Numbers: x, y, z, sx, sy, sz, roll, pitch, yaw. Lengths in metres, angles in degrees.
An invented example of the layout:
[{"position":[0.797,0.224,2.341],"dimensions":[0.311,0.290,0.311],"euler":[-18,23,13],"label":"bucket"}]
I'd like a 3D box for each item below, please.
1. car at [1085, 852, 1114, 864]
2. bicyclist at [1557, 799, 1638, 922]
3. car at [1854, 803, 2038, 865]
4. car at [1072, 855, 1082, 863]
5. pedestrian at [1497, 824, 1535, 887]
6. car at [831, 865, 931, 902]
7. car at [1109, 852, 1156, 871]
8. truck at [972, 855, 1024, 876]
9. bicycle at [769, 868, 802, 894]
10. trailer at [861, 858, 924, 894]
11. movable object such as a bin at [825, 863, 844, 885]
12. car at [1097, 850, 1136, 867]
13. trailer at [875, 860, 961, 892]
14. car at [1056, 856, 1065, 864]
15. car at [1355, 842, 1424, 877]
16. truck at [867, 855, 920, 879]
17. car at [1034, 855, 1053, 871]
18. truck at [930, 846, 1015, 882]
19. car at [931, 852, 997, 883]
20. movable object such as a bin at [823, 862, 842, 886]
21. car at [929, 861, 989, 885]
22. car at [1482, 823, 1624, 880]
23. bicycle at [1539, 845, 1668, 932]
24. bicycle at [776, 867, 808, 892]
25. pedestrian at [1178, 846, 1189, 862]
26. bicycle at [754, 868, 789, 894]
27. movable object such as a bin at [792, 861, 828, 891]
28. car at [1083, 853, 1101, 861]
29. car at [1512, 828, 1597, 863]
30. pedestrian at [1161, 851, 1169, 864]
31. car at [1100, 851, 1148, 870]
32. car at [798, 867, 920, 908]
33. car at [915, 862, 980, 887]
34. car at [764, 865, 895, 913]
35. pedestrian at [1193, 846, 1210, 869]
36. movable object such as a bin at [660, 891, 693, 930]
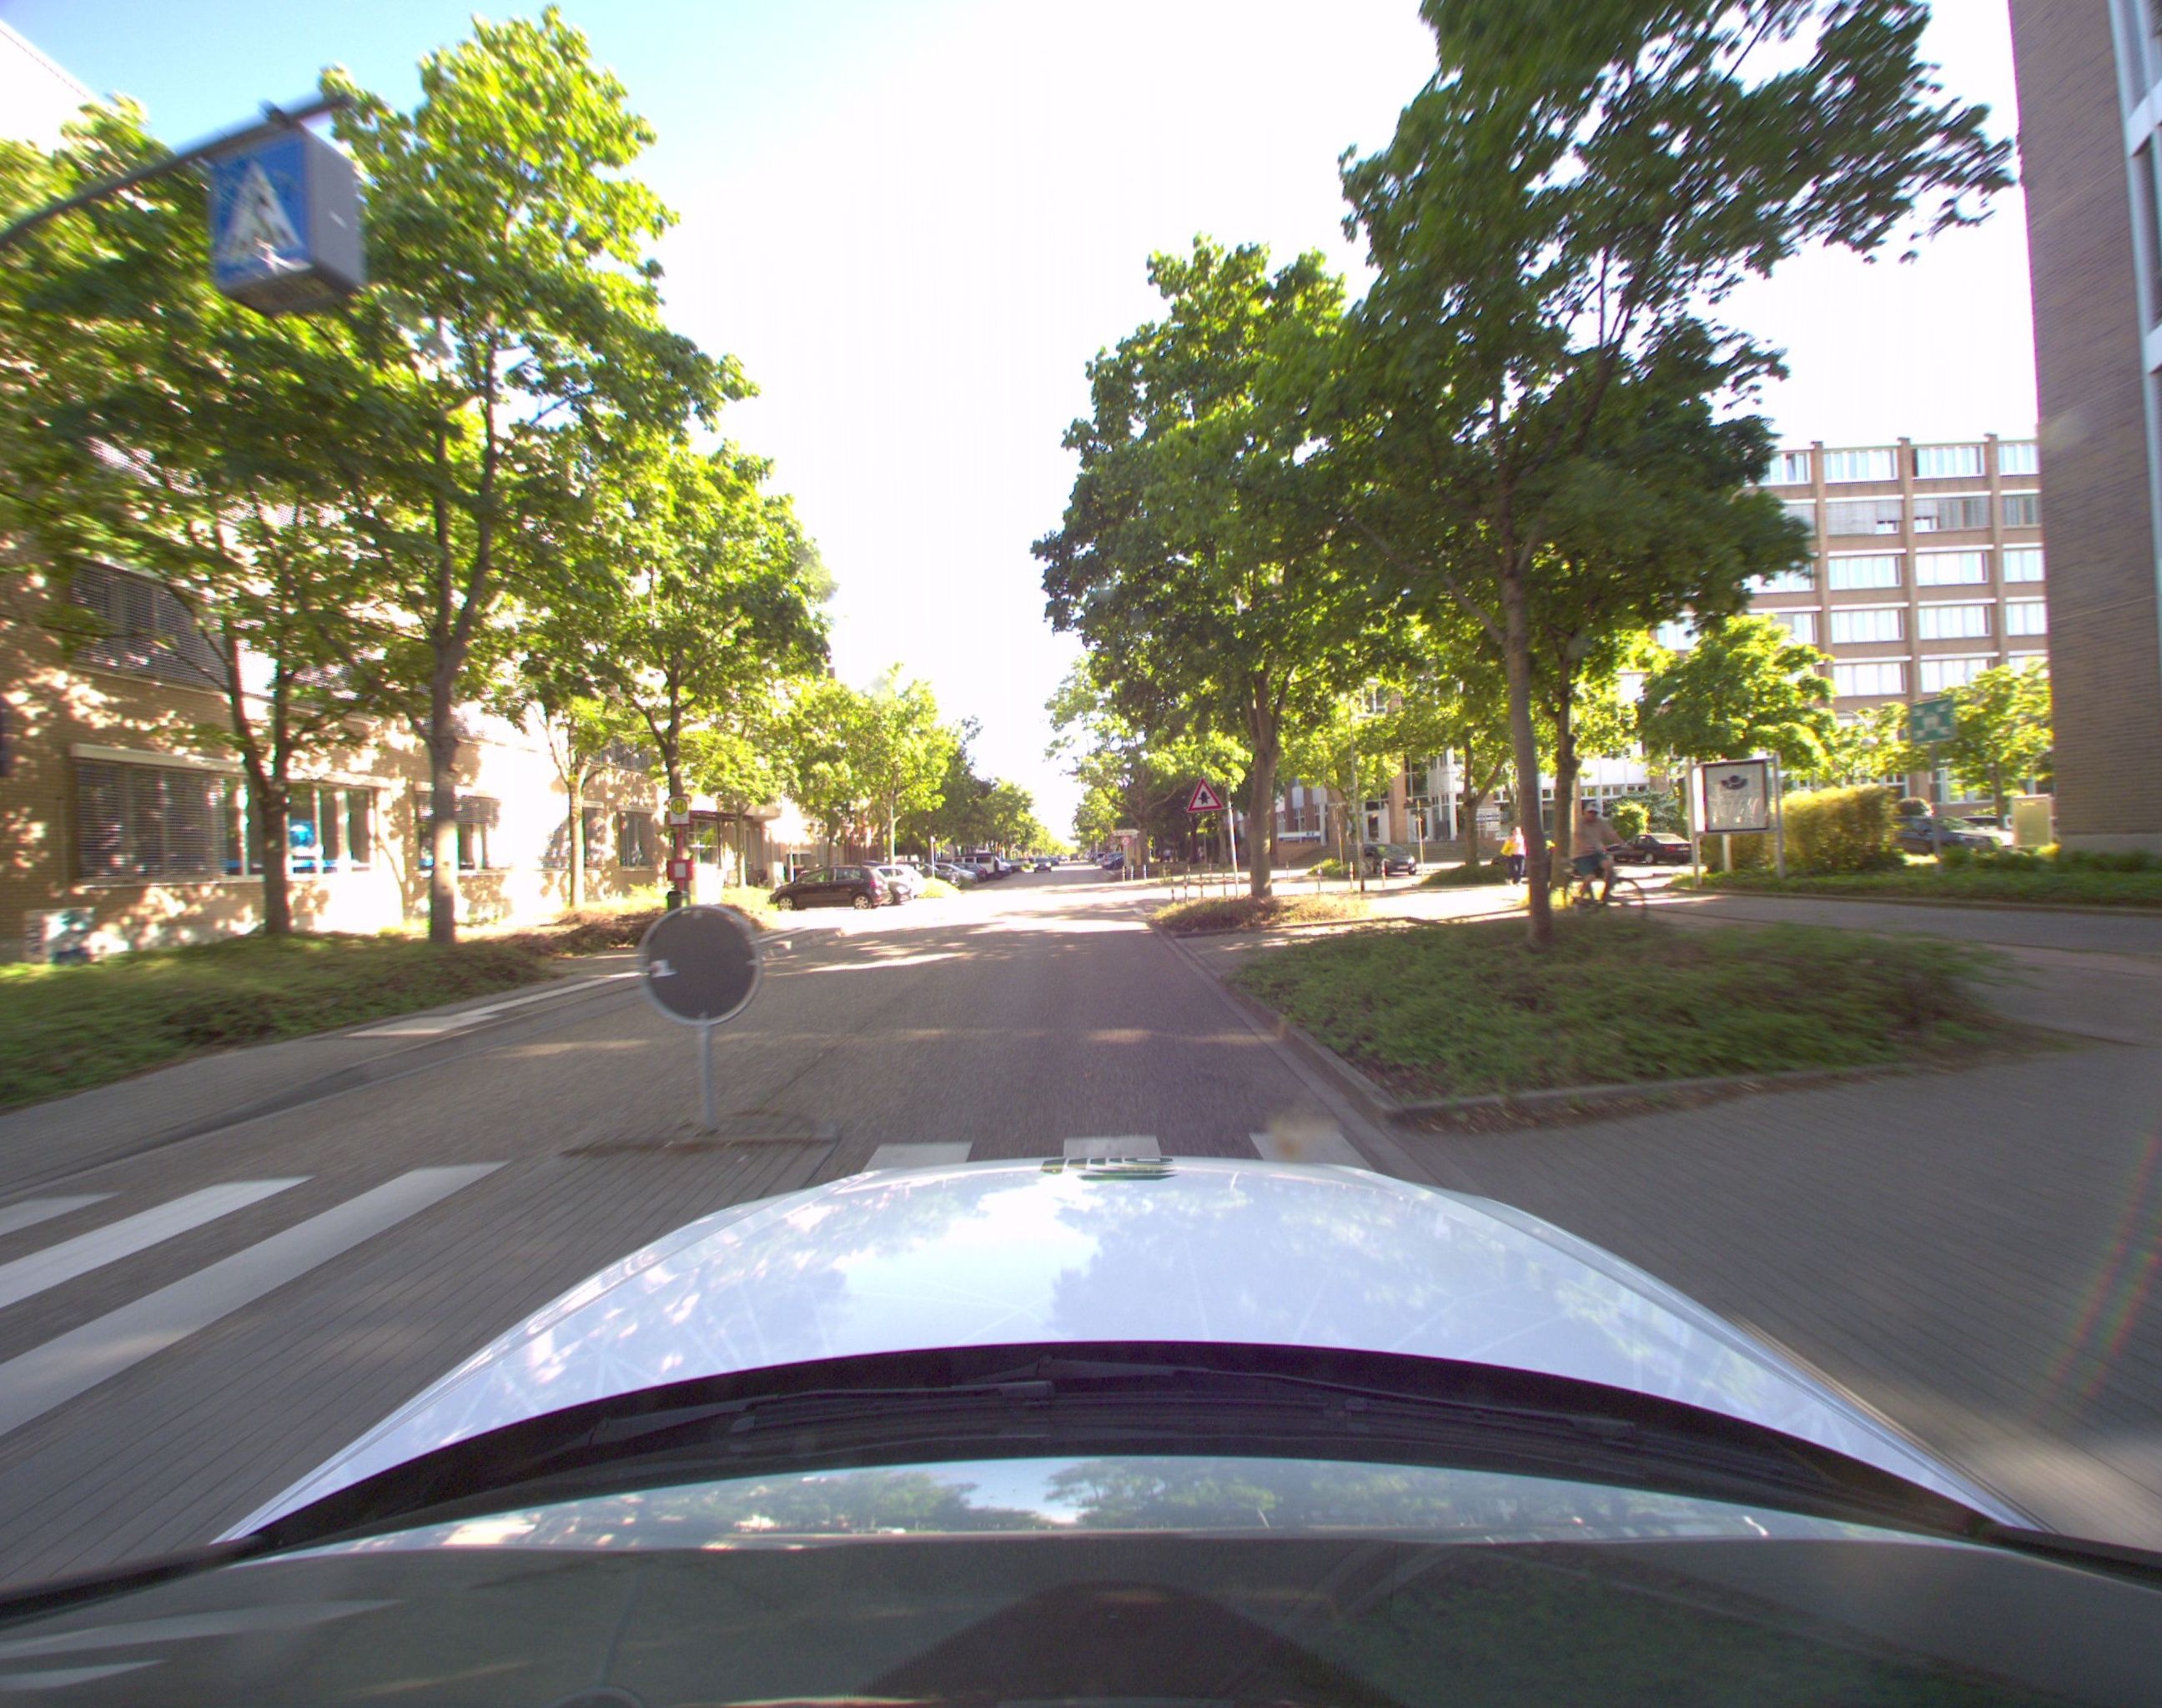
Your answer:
[{"position":[2.831,0.604,126.996],"dimensions":[4.258,1.633,1.856],"euler":[-4,0,-3],"label":"car"},{"position":[7.212,0.089,11.402],"dimensions":[0.535,1.636,0.822],"euler":[-3,0,0],"label":"bicyclist"},{"position":[27.020,-0.568,25.659],"dimensions":[1.690,1.585,4.005],"euler":[-2,-3,6],"label":"car"},{"position":[-0.896,1.126,171.999],"dimensions":[1.927,1.597,4.364],"euler":[-3,0,-1],"label":"car"},{"position":[11.357,0.044,21.263],"dimensions":[0.538,1.582,0.646],"euler":[-3,0,-10],"label":"pedestrian"},{"position":[-8.331,1.224,34.200],"dimensions":[3.743,1.452,1.753],"euler":[-1,0,-1],"label":"car"},{"position":[4.475,0.676,71.050],"dimensions":[3.925,1.439,1.772],"euler":[-3,0,-3],"label":"car"},{"position":[-8.421,1.164,83.312],"dimensions":[4.969,1.959,2.138],"euler":[-3,0,-1],"label":"truck"},{"position":[-16.776,1.501,46.264],"dimensions":[1.732,1.409,0.610],"euler":[-1,-1,-24],"label":"bicycle"},{"position":[-9.522,1.089,41.230],"dimensions":[2.716,1.687,1.712],"euler":[-1,0,0],"label":"trailer"},{"position":[-17.856,1.447,58.987],"dimensions":[1.146,1.563,1.239],"euler":[-3,0,-13],"label":"movable object such as a bin"},{"position":[4.199,0.519,97.083],"dimensions":[4.393,1.618,1.911],"euler":[-6,0,-2],"label":"car"},{"position":[-8.652,1.155,43.596],"dimensions":[4.252,1.572,1.853],"euler":[-1,0,-4],"label":"trailer"},{"position":[-4.374,1.231,174.281],"dimensions":[1.887,1.684,4.349],"euler":[-3,0,-2],"label":"car"},{"position":[14.248,0.220,37.868],"dimensions":[1.647,1.462,3.916],"euler":[-3,0,0],"label":"car"},{"position":[-24.023,1.704,104.748],"dimensions":[6.089,2.704,2.575],"euler":[-3,0,-3],"label":"truck"},{"position":[-3.791,0.873,82.892],"dimensions":[1.774,1.511,3.999],"euler":[-3,0,0],"label":"car"},{"position":[-8.467,0.760,64.016],"dimensions":[6.212,2.422,2.187],"euler":[-3,0,-1],"label":"truck"},{"position":[-8.379,0.968,58.556],"dimensions":[4.471,2.052,1.998],"euler":[-1,-1,-3],"label":"car"},{"position":[-17.592,1.419,57.703],"dimensions":[1.146,1.619,1.435],"euler":[-3,0,-13],"label":"movable object such as a bin"},{"position":[-8.325,1.310,55.925],"dimensions":[3.765,1.492,1.833],"euler":[-1,0,0],"label":"car"},{"position":[14.734,-0.014,25.731],"dimensions":[1.734,1.566,4.361],"euler":[-2,-2,-3],"label":"car"},{"position":[7.226,0.441,11.384],"dimensions":[0.532,1.078,1.920],"euler":[-3,0,1],"label":"bicycle"},{"position":[-17.369,1.535,48.949],"dimensions":[1.732,1.409,0.610],"euler":[-1,-1,-24],"label":"bicycle"},{"position":[11.414,0.037,90.709],"dimensions":[0.696,1.710,0.917],"euler":[-6,1,-12],"label":"pedestrian"},{"position":[-17.195,1.501,45.255],"dimensions":[1.732,1.409,0.610],"euler":[-1,-1,-24],"label":"bicycle"},{"position":[-17.541,1.424,52.762],"dimensions":[1.593,1.796,1.665],"euler":[-3,0,1],"label":"movable object such as a bin"},{"position":[2.712,0.825,198.501],"dimensions":[3.982,1.792,1.996],"euler":[-3,0,-6],"label":"car"},{"position":[22.430,-0.379,38.761],"dimensions":[1.682,1.461,4.275],"euler":[-3,0,3],"label":"car"},{"position":[9.500,0.384,92.321],"dimensions":[0.699,1.458,0.715],"euler":[-4,0,-3],"label":"pedestrian"},{"position":[4.129,0.643,78.378],"dimensions":[4.348,1.597,1.935],"euler":[-3,0,-7],"label":"car"},{"position":[-8.409,1.259,31.108],"dimensions":[4.139,1.402,1.800],"euler":[-1,0,-1],"label":"car"},{"position":[-8.676,1.315,53.174],"dimensions":[3.819,1.461,1.734],"euler":[-2,0,2],"label":"car"},{"position":[-8.684,1.191,28.346],"dimensions":[3.975,1.570,1.727],"euler":[-1,0,-1],"label":"car"},{"position":[9.502,0.254,64.157],"dimensions":[0.919,1.710,0.695],"euler":[-6,1,-14],"label":"pedestrian"},{"position":[-8.006,1.110,16.117],"dimensions":[0.440,0.731,0.408],"euler":[-1,-1,-1],"label":"movable object such as a bin"}]
